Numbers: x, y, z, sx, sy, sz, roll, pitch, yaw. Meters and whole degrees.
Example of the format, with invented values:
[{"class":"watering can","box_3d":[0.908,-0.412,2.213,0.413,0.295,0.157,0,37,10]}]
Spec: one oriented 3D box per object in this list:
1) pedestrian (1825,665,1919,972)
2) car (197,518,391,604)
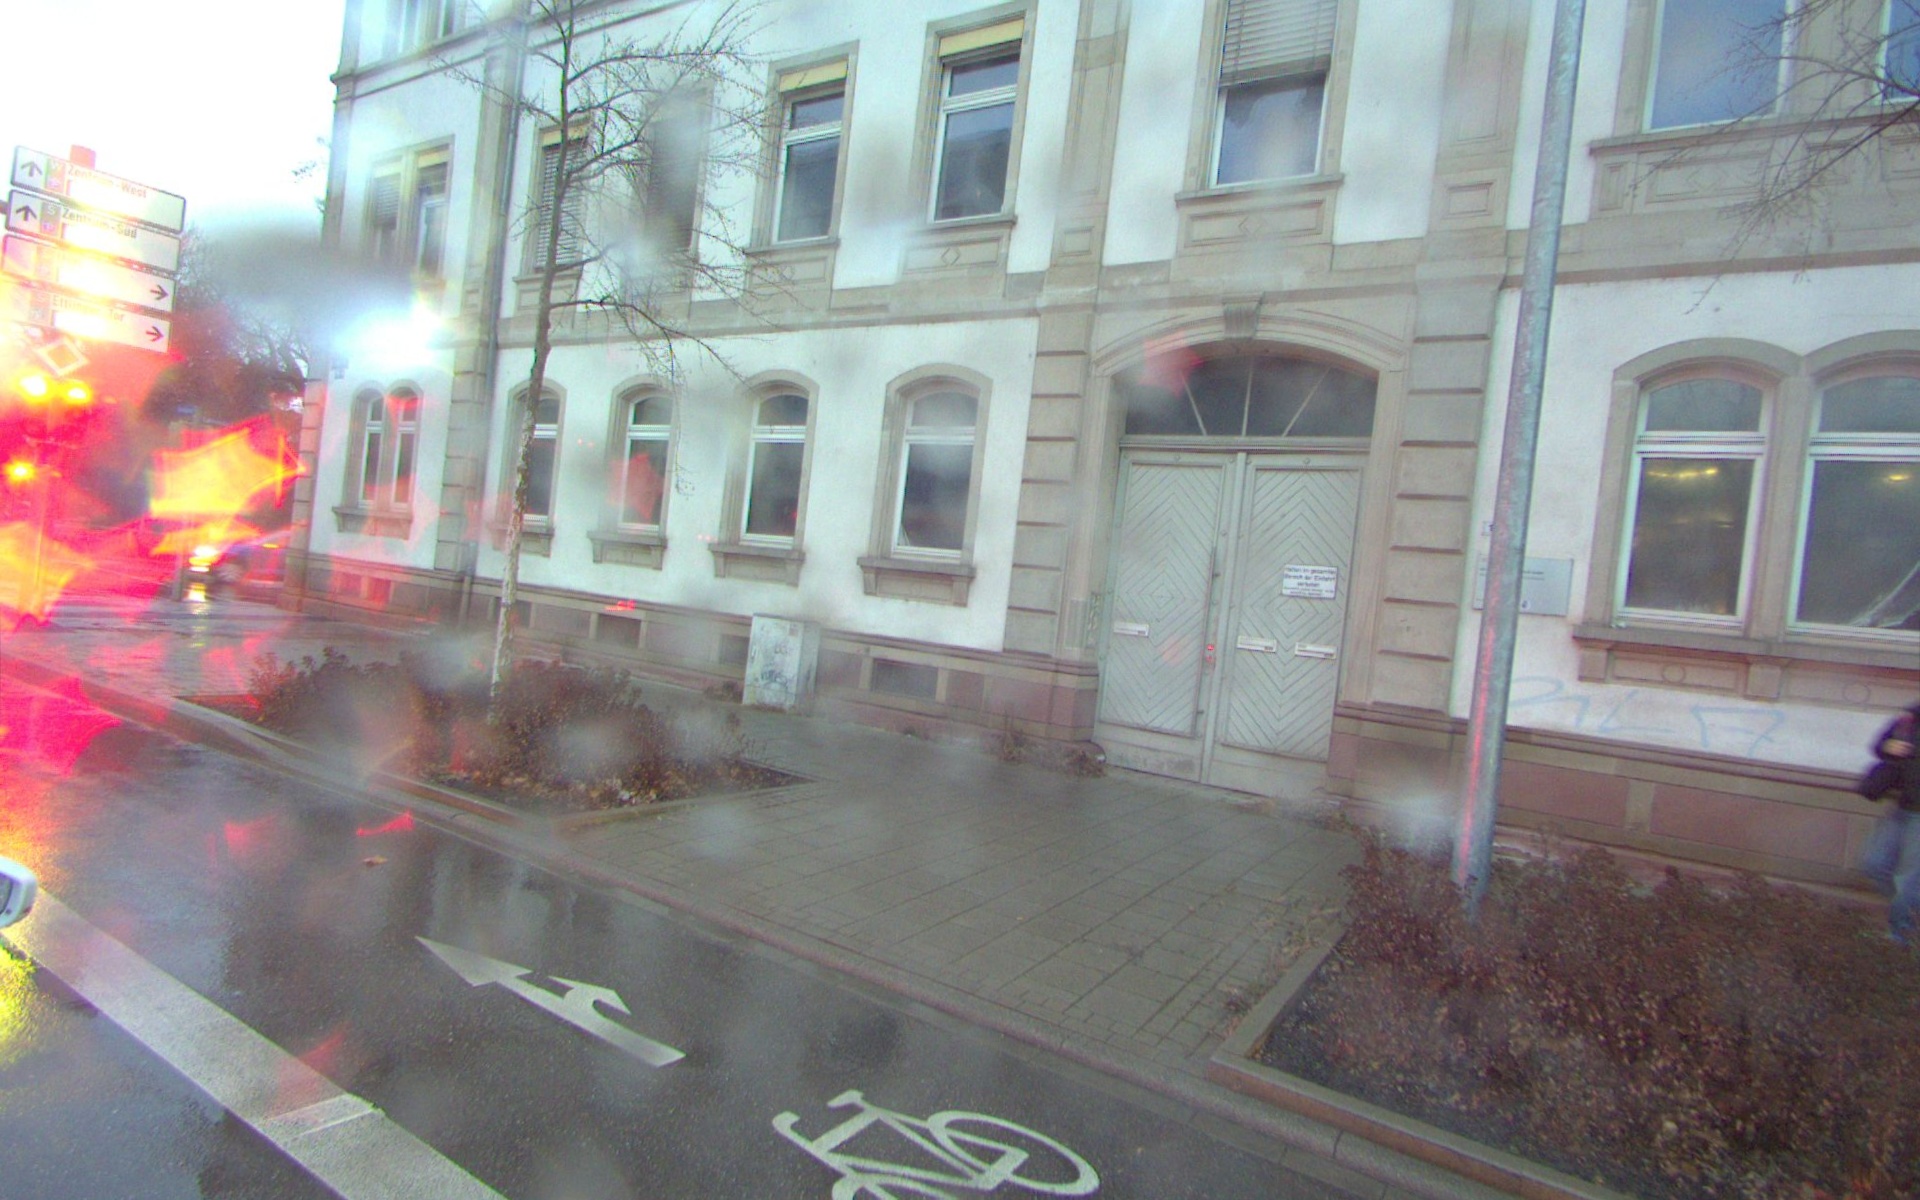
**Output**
[{"class":"pedestrian","box_3d":[5.752,1.276,5.948,0.695,1.694,0.868,7,1,34]},{"class":"car","box_3d":[-17.602,-0.993,26.681,3.974,1.640,1.700,10,-3,-41]}]
